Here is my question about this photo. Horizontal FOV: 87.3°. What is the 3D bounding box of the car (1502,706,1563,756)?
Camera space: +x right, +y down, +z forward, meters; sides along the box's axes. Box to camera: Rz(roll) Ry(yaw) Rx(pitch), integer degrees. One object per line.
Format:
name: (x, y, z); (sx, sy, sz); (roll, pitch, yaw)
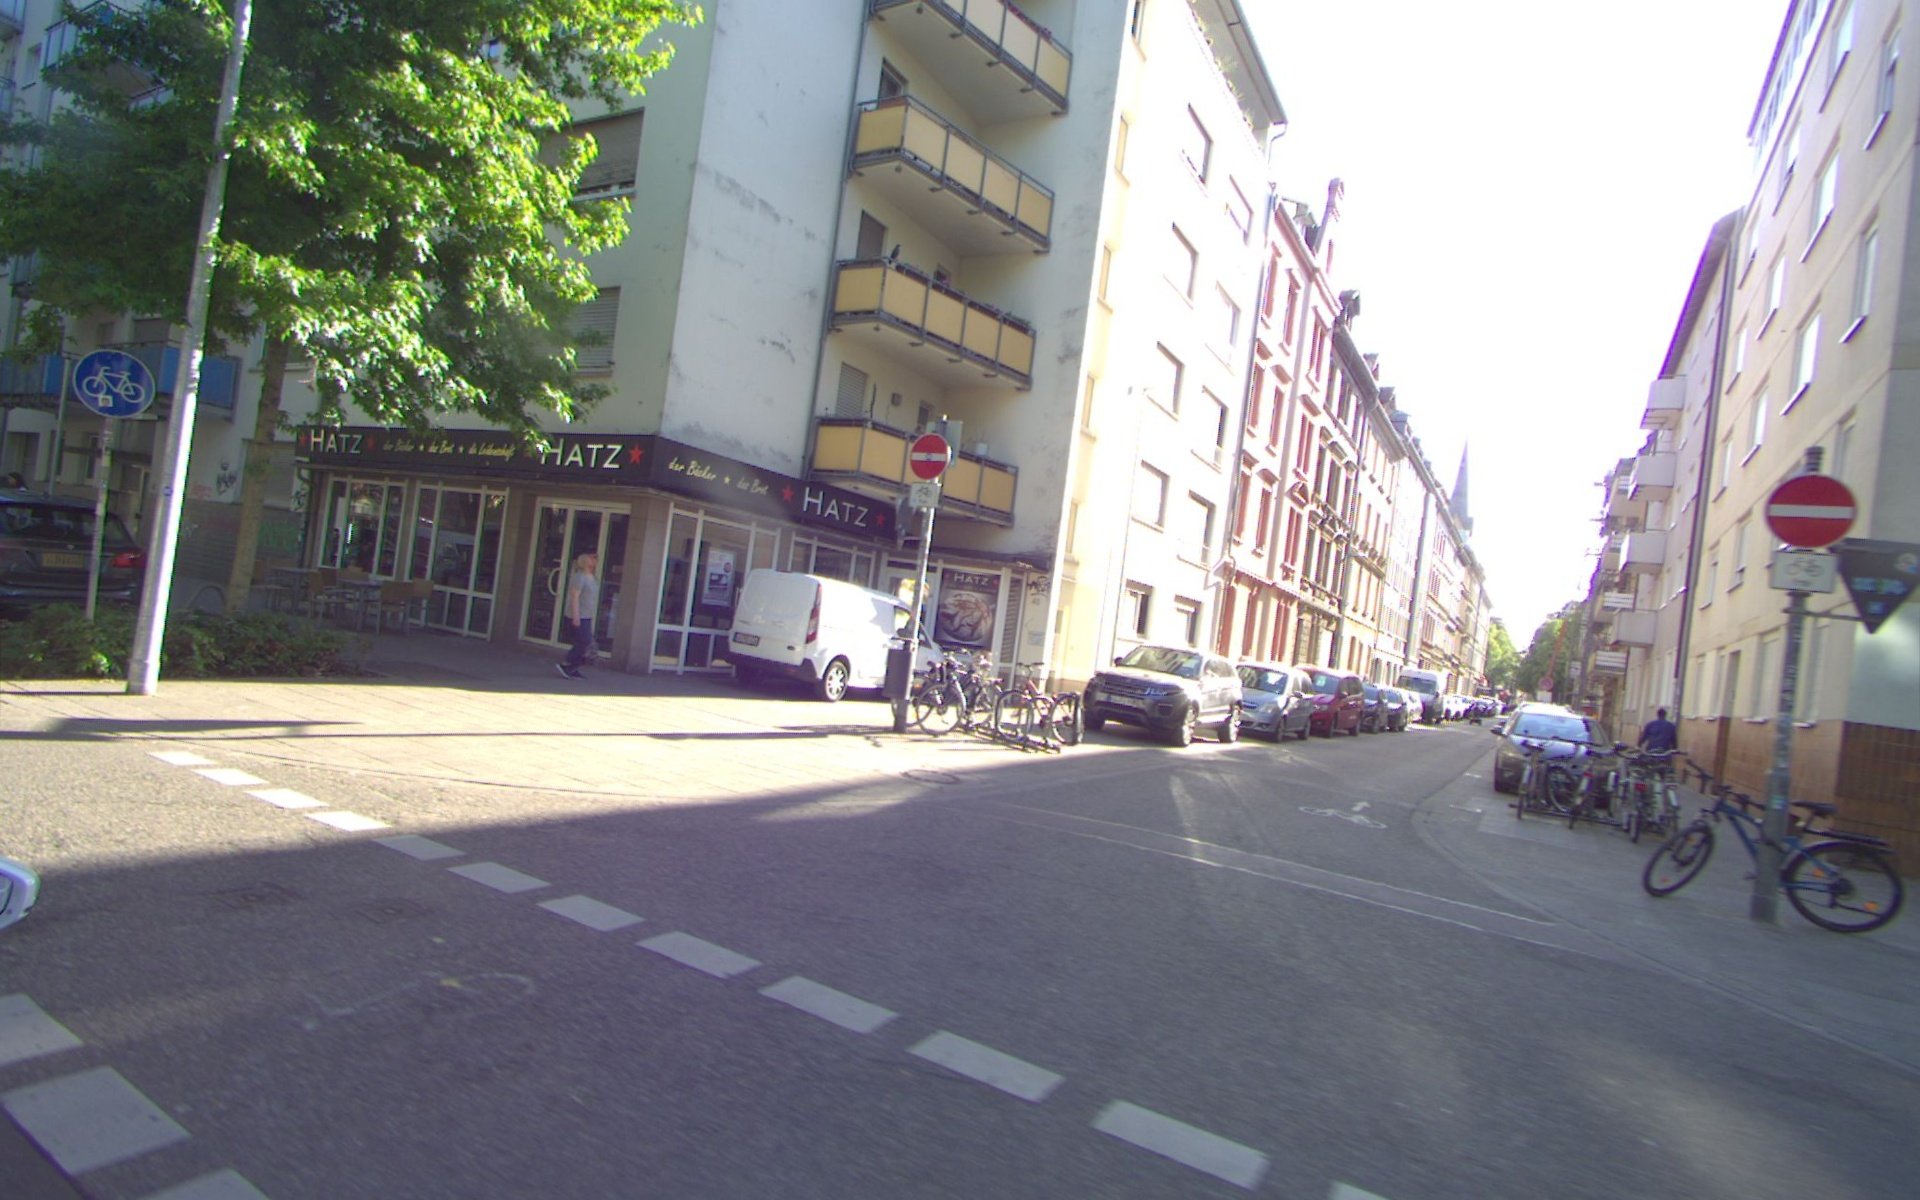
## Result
car: (20.959, 4.760, 36.881); (1.703, 1.461, 3.927); (7, -2, 29)

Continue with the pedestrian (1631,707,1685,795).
pedestrian: (15.407, 3.319, 22.226); (0.697, 1.809, 0.807); (7, 0, 30)

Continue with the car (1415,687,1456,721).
car: (29.447, 6.436, 62.241); (1.878, 1.753, 3.996); (7, -1, 30)

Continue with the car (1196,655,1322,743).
car: (6.771, 2.217, 22.527); (1.703, 1.589, 3.652); (7, -2, 31)

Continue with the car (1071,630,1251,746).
car: (3.709, 1.598, 18.028); (1.773, 1.625, 4.013); (7, -2, 31)

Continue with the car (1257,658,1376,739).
car: (9.586, 2.659, 26.820); (1.687, 1.751, 4.435); (7, -2, 35)

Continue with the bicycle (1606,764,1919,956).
bicycle: (6.531, 2.051, 8.205); (1.933, 1.028, 0.805); (7, 0, 26)

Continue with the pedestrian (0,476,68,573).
pedestrian: (-18.412, -1.484, 19.920); (0.758, 1.769, 0.794); (7, -1, 34)

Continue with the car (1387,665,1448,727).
car: (22.352, 4.704, 49.090); (1.967, 2.535, 3.998); (6, -4, 32)

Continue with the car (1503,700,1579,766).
car: (17.444, 3.946, 30.318); (1.703, 1.582, 3.927); (7, -1, 29)

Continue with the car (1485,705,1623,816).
car: (10.122, 2.649, 17.289); (1.703, 1.431, 3.626); (7, -2, 29)

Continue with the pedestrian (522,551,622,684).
pedestrian: (-5.194, 0.236, 13.524); (0.842, 1.637, 0.770); (8, 1, 3)

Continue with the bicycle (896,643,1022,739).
bicycle: (0.022, 1.247, 13.629); (0.692, 1.130, 1.838); (7, -1, 34)

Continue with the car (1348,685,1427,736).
car: (15.464, 3.989, 36.249); (1.687, 1.478, 4.436); (7, -2, 34)

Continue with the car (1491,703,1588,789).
car: (12.844, 3.164, 22.382); (1.568, 1.477, 3.927); (7, -2, 29)

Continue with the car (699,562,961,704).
car: (-1.983, 0.652, 16.824); (1.966, 1.852, 4.369); (7, -2, 29)

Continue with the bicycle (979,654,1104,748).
bicycle: (1.140, 1.408, 13.800); (0.605, 1.130, 1.769); (7, -1, 44)

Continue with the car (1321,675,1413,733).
car: (13.053, 3.329, 32.109); (1.687, 1.478, 4.436); (7, -2, 34)

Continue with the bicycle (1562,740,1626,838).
bicycle: (8.169, 2.395, 13.013); (0.480, 1.027, 1.966); (7, -1, 29)

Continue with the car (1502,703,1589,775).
car: (15.417, 3.604, 26.620); (1.703, 1.477, 3.927); (7, -2, 29)

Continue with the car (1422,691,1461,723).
car: (31.964, 7.107, 66.702); (1.878, 1.753, 3.996); (7, -1, 30)

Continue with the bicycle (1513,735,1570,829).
bicycle: (7.742, 2.387, 13.441); (0.480, 1.027, 1.967); (7, -1, 28)

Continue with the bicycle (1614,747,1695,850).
bicycle: (8.678, 2.441, 12.632); (0.480, 1.027, 1.967); (7, -1, 27)

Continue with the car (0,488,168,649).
car: (-11.390, -0.519, 11.769); (4.013, 1.592, 1.723); (7, -1, 27)

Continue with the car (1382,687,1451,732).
car: (18.574, 4.469, 40.821); (1.687, 1.478, 4.436); (7, -2, 34)

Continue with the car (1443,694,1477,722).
car: (37.744, 8.153, 75.885); (1.878, 1.753, 3.996); (7, -1, 30)
